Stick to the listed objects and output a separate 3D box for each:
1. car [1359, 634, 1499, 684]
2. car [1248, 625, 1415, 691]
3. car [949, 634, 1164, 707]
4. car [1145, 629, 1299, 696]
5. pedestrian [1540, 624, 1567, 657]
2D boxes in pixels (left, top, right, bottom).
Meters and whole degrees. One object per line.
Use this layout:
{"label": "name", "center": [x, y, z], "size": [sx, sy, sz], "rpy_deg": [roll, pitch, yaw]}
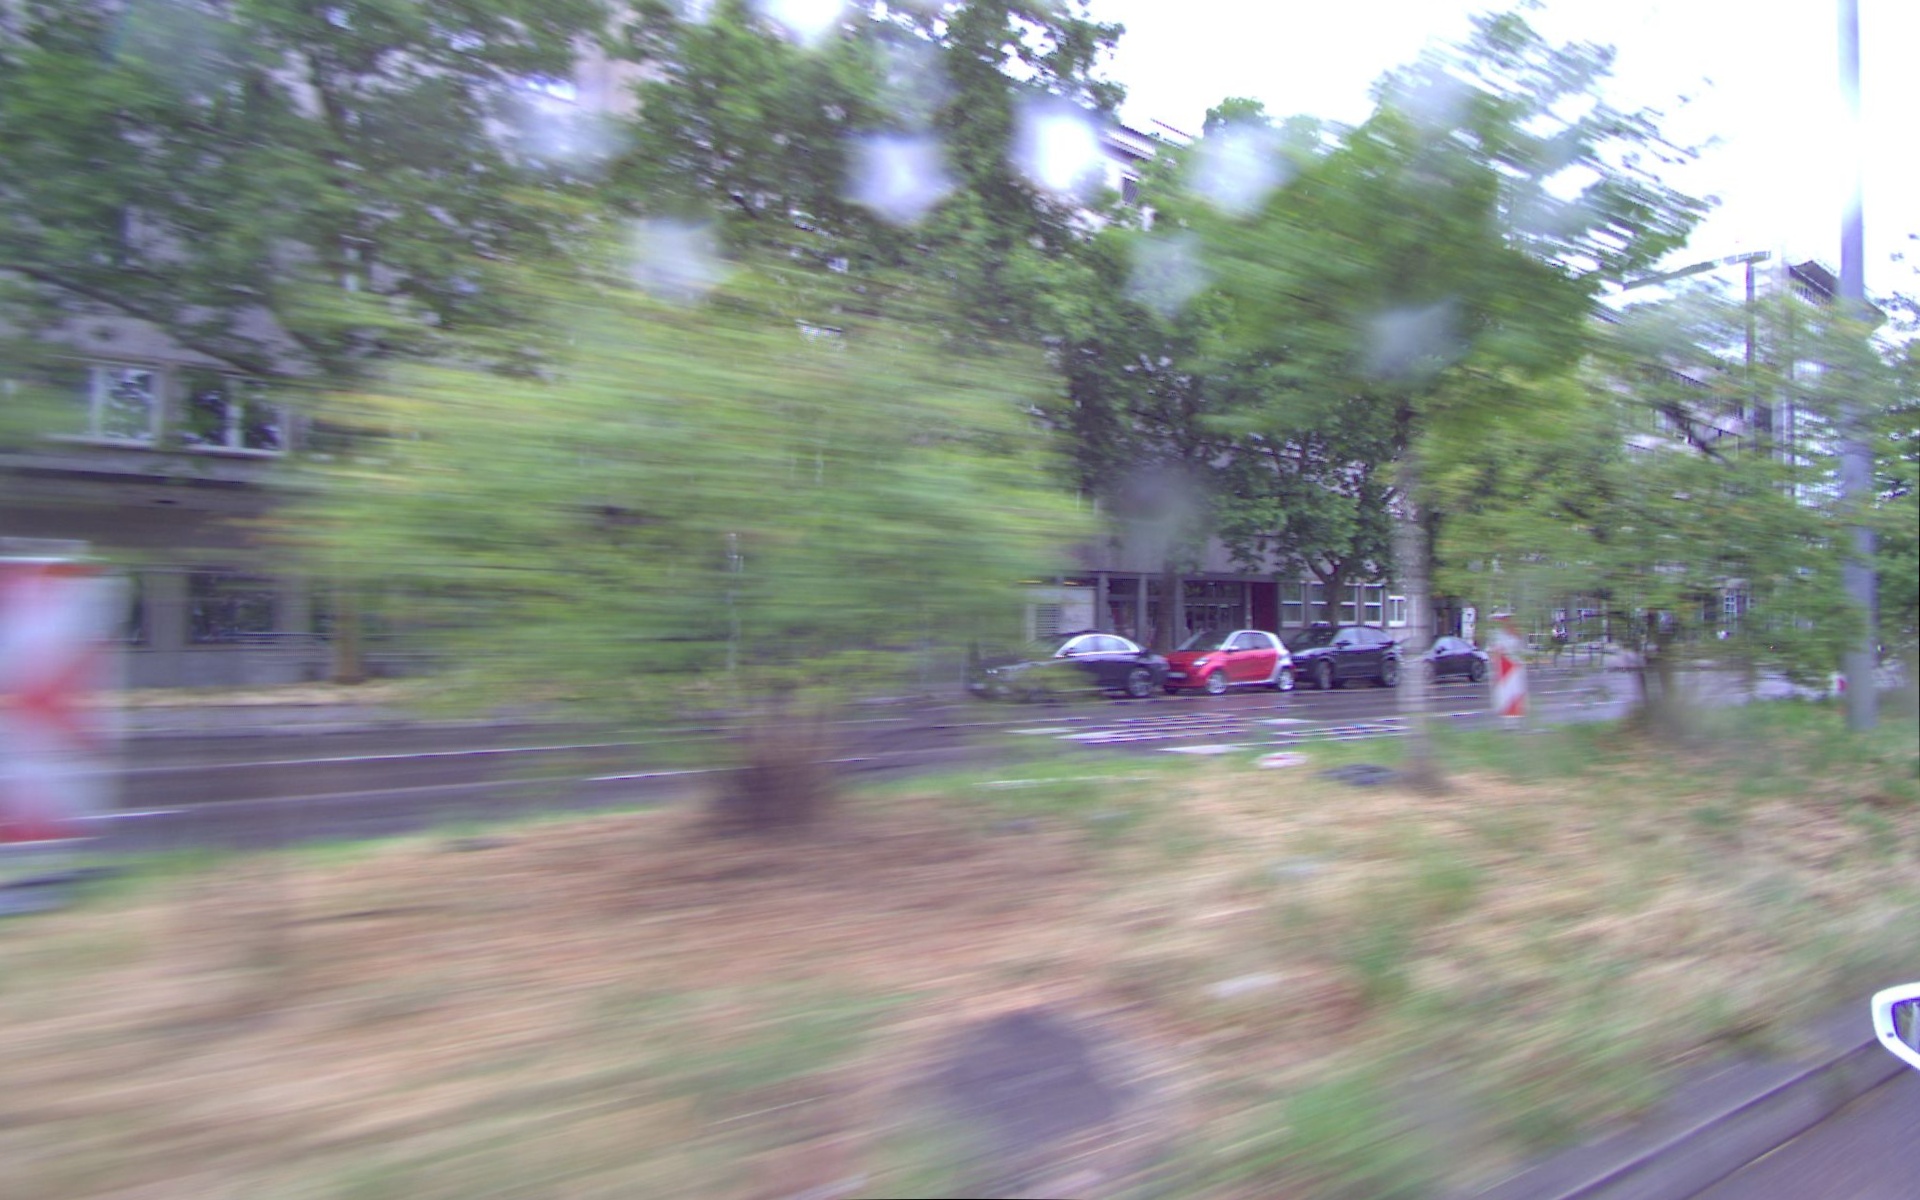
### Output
{"label": "car", "center": [14.456, 1.801, 30.881], "size": [4.605, 1.412, 1.758], "rpy_deg": [1, -4, -34]}
{"label": "car", "center": [10.243, 1.578, 27.587], "size": [4.790, 1.674, 1.759], "rpy_deg": [1, -4, -33]}
{"label": "car", "center": [2.177, 1.520, 22.156], "size": [4.621, 1.453, 1.759], "rpy_deg": [1, -4, -33]}
{"label": "car", "center": [6.445, 1.519, 24.636], "size": [3.588, 1.539, 1.677], "rpy_deg": [1, -4, -34]}
{"label": "pedestrian", "center": [30.325, 2.073, 51.314], "size": [0.670, 1.667, 0.987], "rpy_deg": [1, -1, -34]}
